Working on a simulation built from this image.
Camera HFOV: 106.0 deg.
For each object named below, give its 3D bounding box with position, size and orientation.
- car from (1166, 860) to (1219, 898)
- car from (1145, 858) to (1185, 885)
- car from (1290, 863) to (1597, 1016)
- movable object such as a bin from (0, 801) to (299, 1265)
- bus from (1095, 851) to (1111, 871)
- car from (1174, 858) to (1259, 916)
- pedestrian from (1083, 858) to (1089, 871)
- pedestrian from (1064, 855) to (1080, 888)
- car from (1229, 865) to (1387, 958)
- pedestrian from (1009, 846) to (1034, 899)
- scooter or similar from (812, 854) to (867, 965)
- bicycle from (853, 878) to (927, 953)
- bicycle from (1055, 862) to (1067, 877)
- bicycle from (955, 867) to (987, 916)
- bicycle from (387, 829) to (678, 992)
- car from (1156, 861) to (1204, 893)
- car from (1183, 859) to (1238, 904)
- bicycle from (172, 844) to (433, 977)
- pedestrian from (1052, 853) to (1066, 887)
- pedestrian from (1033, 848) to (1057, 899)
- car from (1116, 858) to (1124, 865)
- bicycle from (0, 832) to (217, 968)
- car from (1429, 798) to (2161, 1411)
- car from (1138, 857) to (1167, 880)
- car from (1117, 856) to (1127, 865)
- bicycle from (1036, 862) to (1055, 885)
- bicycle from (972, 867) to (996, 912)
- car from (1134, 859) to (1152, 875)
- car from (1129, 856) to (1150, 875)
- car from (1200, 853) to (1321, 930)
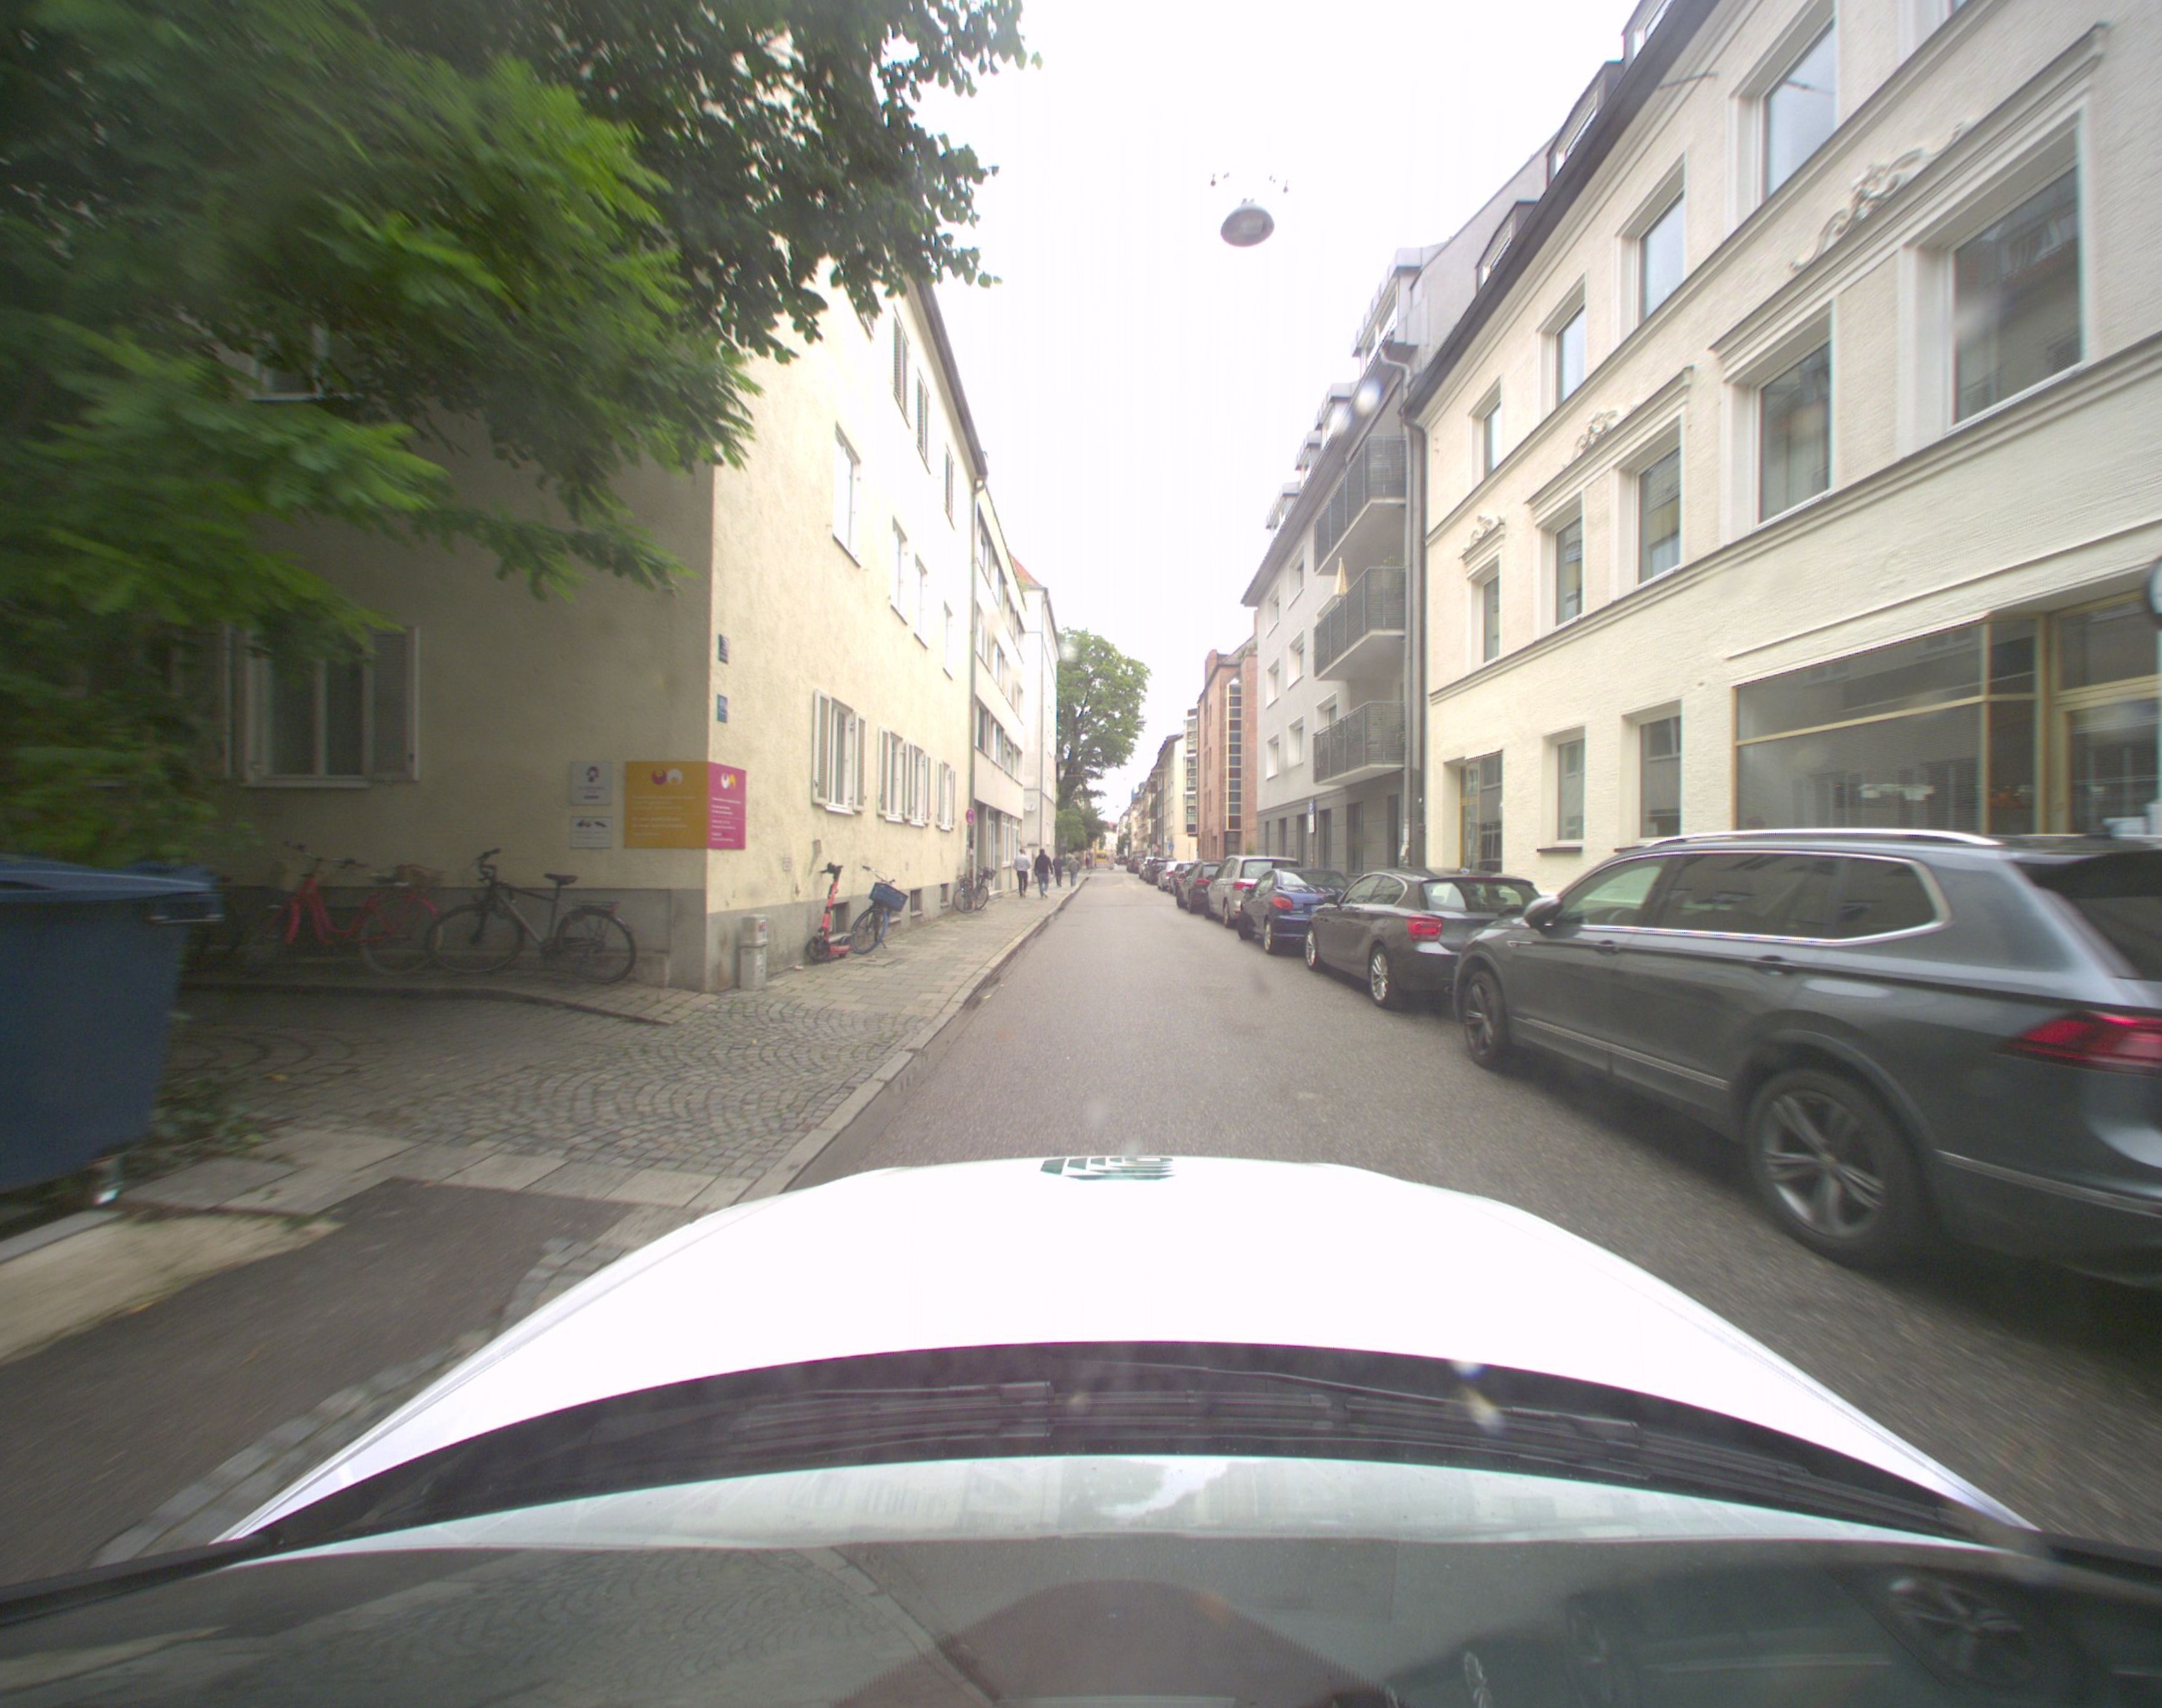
[{"bbox_3d":[4.658,1.000,34.456,1.739,1.462,4.150,1,0,1],"label":"car"},{"bbox_3d":[4.990,1.016,48.905,1.880,1.555,4.390,1,0,0],"label":"car"},{"bbox_3d":[3.906,0.811,9.700,1.793,1.386,4.350,0,0,1],"label":"car"},{"bbox_3d":[-3.997,0.560,2.870,1.168,1.442,1.251,5,1,7],"label":"movable object such as a bin"},{"bbox_3d":[3.572,1.206,131.274,2.583,3.102,6.308,-1,-1,2],"label":"bus"},{"bbox_3d":[3.896,0.897,24.048,1.833,1.528,4.293,1,0,1],"label":"car"},{"bbox_3d":[0.620,1.308,100.870,0.753,1.491,0.831,-1,-1,2],"label":"pedestrian"},{"bbox_3d":[-0.467,0.913,42.313,0.750,1.659,0.906,2,-1,2],"label":"pedestrian"},{"bbox_3d":[3.781,0.892,14.240,1.801,1.363,3.947,0,0,2],"label":"car"},{"bbox_3d":[-2.093,0.648,28.650,0.715,1.796,0.917,2,-1,2],"label":"pedestrian"},{"bbox_3d":[-3.161,0.693,10.726,0.316,1.376,1.239,-1,-1,2],"label":"scooter or similar"},{"bbox_3d":[-2.877,0.902,12.451,0.702,0.984,1.821,4,-1,-2],"label":"bicycle"},{"bbox_3d":[-1.492,1.135,59.882,0.474,1.111,1.751,1,0,-15],"label":"bicycle"},{"bbox_3d":[-2.769,0.921,20.596,0.456,1.159,1.606,3,-1,3],"label":"bicycle"},{"bbox_3d":[-4.867,0.490,7.298,2.192,1.299,0.514,3,-1,0],"label":"bicycle"},{"bbox_3d":[4.678,1.074,39.057,1.830,1.417,4.601,1,0,1],"label":"car"},{"bbox_3d":[4.647,0.957,29.586,1.516,1.511,3.202,1,0,1],"label":"car"},{"bbox_3d":[-6.967,0.491,7.333,1.791,1.134,0.532,1,-1,-1],"label":"bicycle"},{"bbox_3d":[-1.157,0.824,42.151,0.610,1.713,0.823,2,-1,1],"label":"pedestrian"},{"bbox_3d":[-1.282,0.682,28.821,0.715,1.765,0.838,2,-1,2],"label":"pedestrian"},{"bbox_3d":[9.213,1.788,191.464,1.794,1.614,4.002,1,0,2],"label":"car"},{"bbox_3d":[-8.986,0.411,7.489,1.627,1.203,0.382,1,-1,-1],"label":"bicycle"},{"bbox_3d":[3.655,0.695,4.467,1.670,1.661,4.514,1,0,2],"label":"car"},{"bbox_3d":[5.178,1.030,59.296,1.743,1.630,4.195,0,0,-1],"label":"car"},{"bbox_3d":[8.256,1.289,163.179,1.795,1.712,3.826,4,0,0],"label":"car"},{"bbox_3d":[-1.960,1.086,45.273,0.643,1.217,1.655,0,-1,-17],"label":"bicycle"},{"bbox_3d":[-2.637,0.945,22.310,0.560,1.159,1.718,1,-1,-4],"label":"bicycle"},{"bbox_3d":[6.115,1.248,81.023,1.618,1.487,3.810,1,0,2],"label":"car"},{"bbox_3d":[6.087,1.182,85.388,1.796,1.820,3.999,4,0,0],"label":"car"},{"bbox_3d":[4.062,0.802,19.158,1.869,1.570,4.315,-1,0,0],"label":"car"}]
